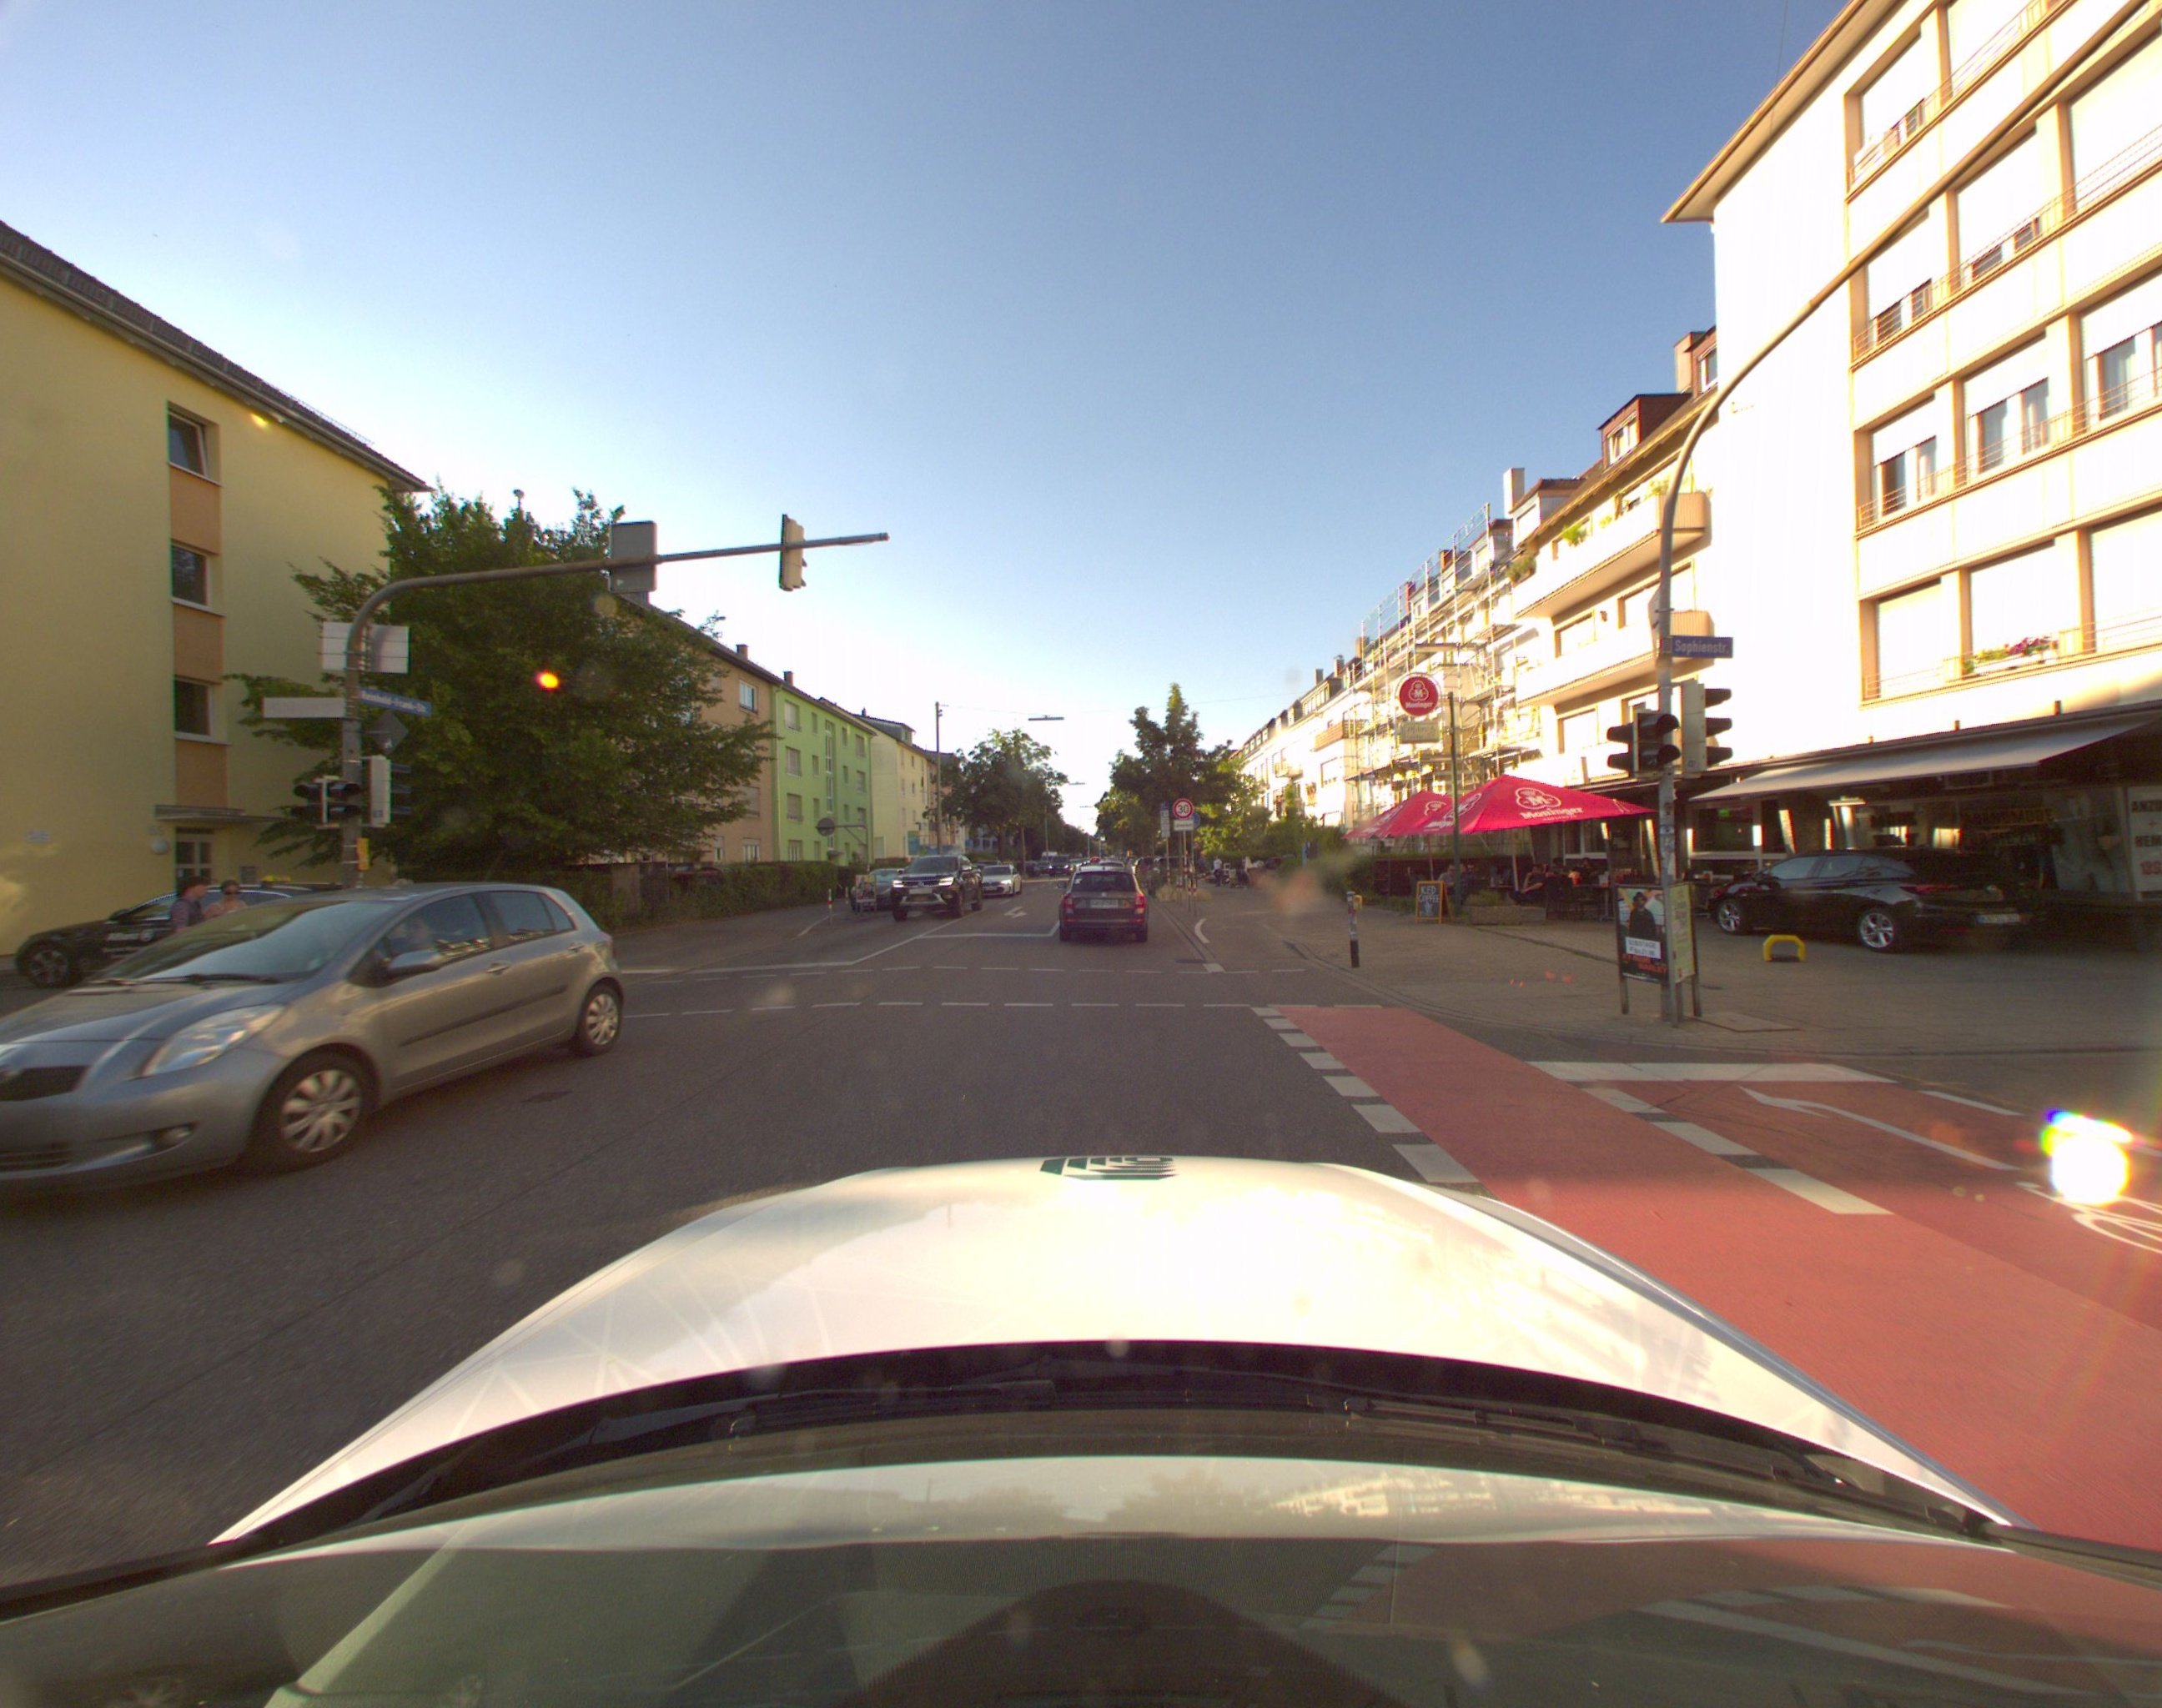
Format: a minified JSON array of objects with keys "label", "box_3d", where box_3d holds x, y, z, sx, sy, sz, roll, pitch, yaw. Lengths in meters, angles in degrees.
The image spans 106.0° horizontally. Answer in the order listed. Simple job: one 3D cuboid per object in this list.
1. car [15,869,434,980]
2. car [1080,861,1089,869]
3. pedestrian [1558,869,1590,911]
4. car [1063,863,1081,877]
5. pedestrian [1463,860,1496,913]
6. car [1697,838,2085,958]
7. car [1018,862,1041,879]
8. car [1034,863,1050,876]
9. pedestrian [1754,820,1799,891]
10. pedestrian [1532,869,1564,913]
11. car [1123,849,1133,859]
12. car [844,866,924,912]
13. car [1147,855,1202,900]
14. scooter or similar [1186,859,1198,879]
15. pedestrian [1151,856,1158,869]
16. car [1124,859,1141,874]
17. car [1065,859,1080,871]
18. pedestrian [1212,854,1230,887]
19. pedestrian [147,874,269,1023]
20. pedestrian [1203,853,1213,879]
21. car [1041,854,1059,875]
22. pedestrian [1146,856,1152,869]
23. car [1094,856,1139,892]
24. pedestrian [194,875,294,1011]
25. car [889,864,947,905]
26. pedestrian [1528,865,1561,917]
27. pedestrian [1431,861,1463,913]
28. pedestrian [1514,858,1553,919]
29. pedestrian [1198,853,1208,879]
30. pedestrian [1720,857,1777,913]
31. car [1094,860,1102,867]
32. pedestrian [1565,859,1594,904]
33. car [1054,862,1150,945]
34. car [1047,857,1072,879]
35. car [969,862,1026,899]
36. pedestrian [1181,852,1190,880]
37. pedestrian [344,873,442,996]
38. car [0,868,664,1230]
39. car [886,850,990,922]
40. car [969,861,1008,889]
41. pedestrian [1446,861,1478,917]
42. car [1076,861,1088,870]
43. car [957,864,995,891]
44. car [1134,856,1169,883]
[{"label":"car","box_3d":[-13.324,1.058,12.910,4.577,1.614,1.842,0,-1,-1]},{"label":"car","box_3d":[0.814,2.477,182.364,1.874,1.543,4.264,-2,0,-1]},{"label":"pedestrian","box_3d":[11.962,0.876,19.767,0.521,0.991,0.414,-1,-1,7]},{"label":"car","box_3d":[-1.029,1.796,93.926,1.810,1.446,4.110,-4,-1,1]},{"label":"pedestrian","box_3d":[8.875,0.720,18.156,0.483,1.150,0.526,-1,-1,6]},{"label":"car","box_3d":[11.880,0.577,12.460,1.821,1.484,4.206,-1,-1,2]},{"label":"car","box_3d":[-4.993,1.578,79.128,1.772,1.505,4.590,-1,-1,2]},{"label":"car","box_3d":[-4.492,1.757,94.077,1.606,1.473,3.814,1,0,1]},{"label":"pedestrian","box_3d":[17.901,0.041,20.976,0.522,1.775,0.685,-1,-1,2]},{"label":"pedestrian","box_3d":[11.371,0.888,19.840,0.521,1.049,0.414,-1,-1,7]},{"label":"car","box_3d":[8.177,-0.043,141.556,1.747,1.686,4.256,0,0,3]},{"label":"car","box_3d":[-6.884,1.182,28.844,1.646,1.479,3.946,-1,-1,3]},{"label":"car","box_3d":[3.690,0.896,32.715,1.786,1.632,4.030,-1,-1,1]},{"label":"scooter or similar","box_3d":[7.407,1.023,54.462,0.742,1.317,0.722,-1,-1,8]},{"label":"pedestrian","box_3d":[10.448,1.168,115.567,0.793,1.861,0.954,-2,-1,12]},{"label":"car","box_3d":[5.847,1.372,92.370,1.712,1.601,4.097,-2,0,1]},{"label":"car","box_3d":[-1.195,1.557,112.437,1.825,1.470,4.453,-4,-1,1]},{"label":"pedestrian","box_3d":[6.834,0.810,39.783,0.557,1.568,0.744,-1,-1,-16]},{"label":"pedestrian","box_3d":[-10.230,1.082,9.567,0.746,1.657,0.607,-1,-1,-5]},{"label":"pedestrian","box_3d":[8.421,0.808,53.852,0.509,1.697,0.526,-1,-1,-3]},{"label":"car","box_3d":[-3.963,1.286,105.376,1.986,2.616,7.107,0,0,1]},{"label":"pedestrian","box_3d":[9.632,1.185,115.968,0.746,1.861,1.068,-2,-1,1]},{"label":"car","box_3d":[1.603,0.932,37.382,1.885,1.506,3.790,2,-1,1]},{"label":"pedestrian","box_3d":[-10.653,1.105,10.375,0.601,1.630,0.754,1,-2,38]},{"label":"car","box_3d":[-6.737,1.217,33.992,1.632,1.552,3.784,-1,-1,-1]},{"label":"pedestrian","box_3d":[10.418,0.822,18.312,0.521,1.150,0.414,-1,-1,7]},{"label":"pedestrian","box_3d":[8.188,0.736,18.238,0.491,1.150,0.526,-1,-1,6]},{"label":"pedestrian","box_3d":[9.669,0.730,17.428,0.522,1.283,0.541,-1,-1,4]},{"label":"pedestrian","box_3d":[8.203,0.804,54.692,0.509,1.697,0.526,-1,-1,-3]},{"label":"pedestrian","box_3d":[14.152,0.652,17.288,0.606,1.150,0.721,-1,-1,4]},{"label":"car","box_3d":[4.761,2.614,227.335,1.989,1.750,3.995,-1,-1,-3]},{"label":"pedestrian","box_3d":[13.431,0.744,21.949,0.521,1.189,0.414,-1,-3,7]},{"label":"car","box_3d":[0.509,0.928,16.869,1.747,1.492,4.004,0,0,3]},{"label":"car","box_3d":[-2.037,1.297,78.690,1.986,1.946,4.779,-3,-1,2]},{"label":"car","box_3d":[-3.680,1.156,36.701,1.829,1.473,4.673,-3,-1,2]},{"label":"pedestrian","box_3d":[7.021,0.769,54.519,0.545,1.849,0.766,-1,-1,8]},{"label":"pedestrian","box_3d":[-9.384,1.070,11.135,0.605,1.594,0.749,2,-2,-1]},{"label":"car","box_3d":[-4.905,0.927,5.651,1.797,1.557,4.002,-2,-1,2]},{"label":"car","box_3d":[-4.108,0.874,24.303,1.854,1.830,5.231,-3,-1,3]},{"label":"car","box_3d":[-6.017,1.330,53.402,1.777,1.733,4.620,-2,-1,2]},{"label":"pedestrian","box_3d":[8.069,0.734,17.268,0.410,1.150,0.632,-1,-1,6]},{"label":"car","box_3d":[0.215,2.104,150.482,1.692,1.470,4.299,-3,-1,4]},{"label":"car","box_3d":[-6.197,1.358,48.539,1.677,1.521,4.191,-1,-1,0]},{"label":"car","box_3d":[4.458,0.969,51.966,1.717,1.656,4.595,-1,-1,-1]}]
